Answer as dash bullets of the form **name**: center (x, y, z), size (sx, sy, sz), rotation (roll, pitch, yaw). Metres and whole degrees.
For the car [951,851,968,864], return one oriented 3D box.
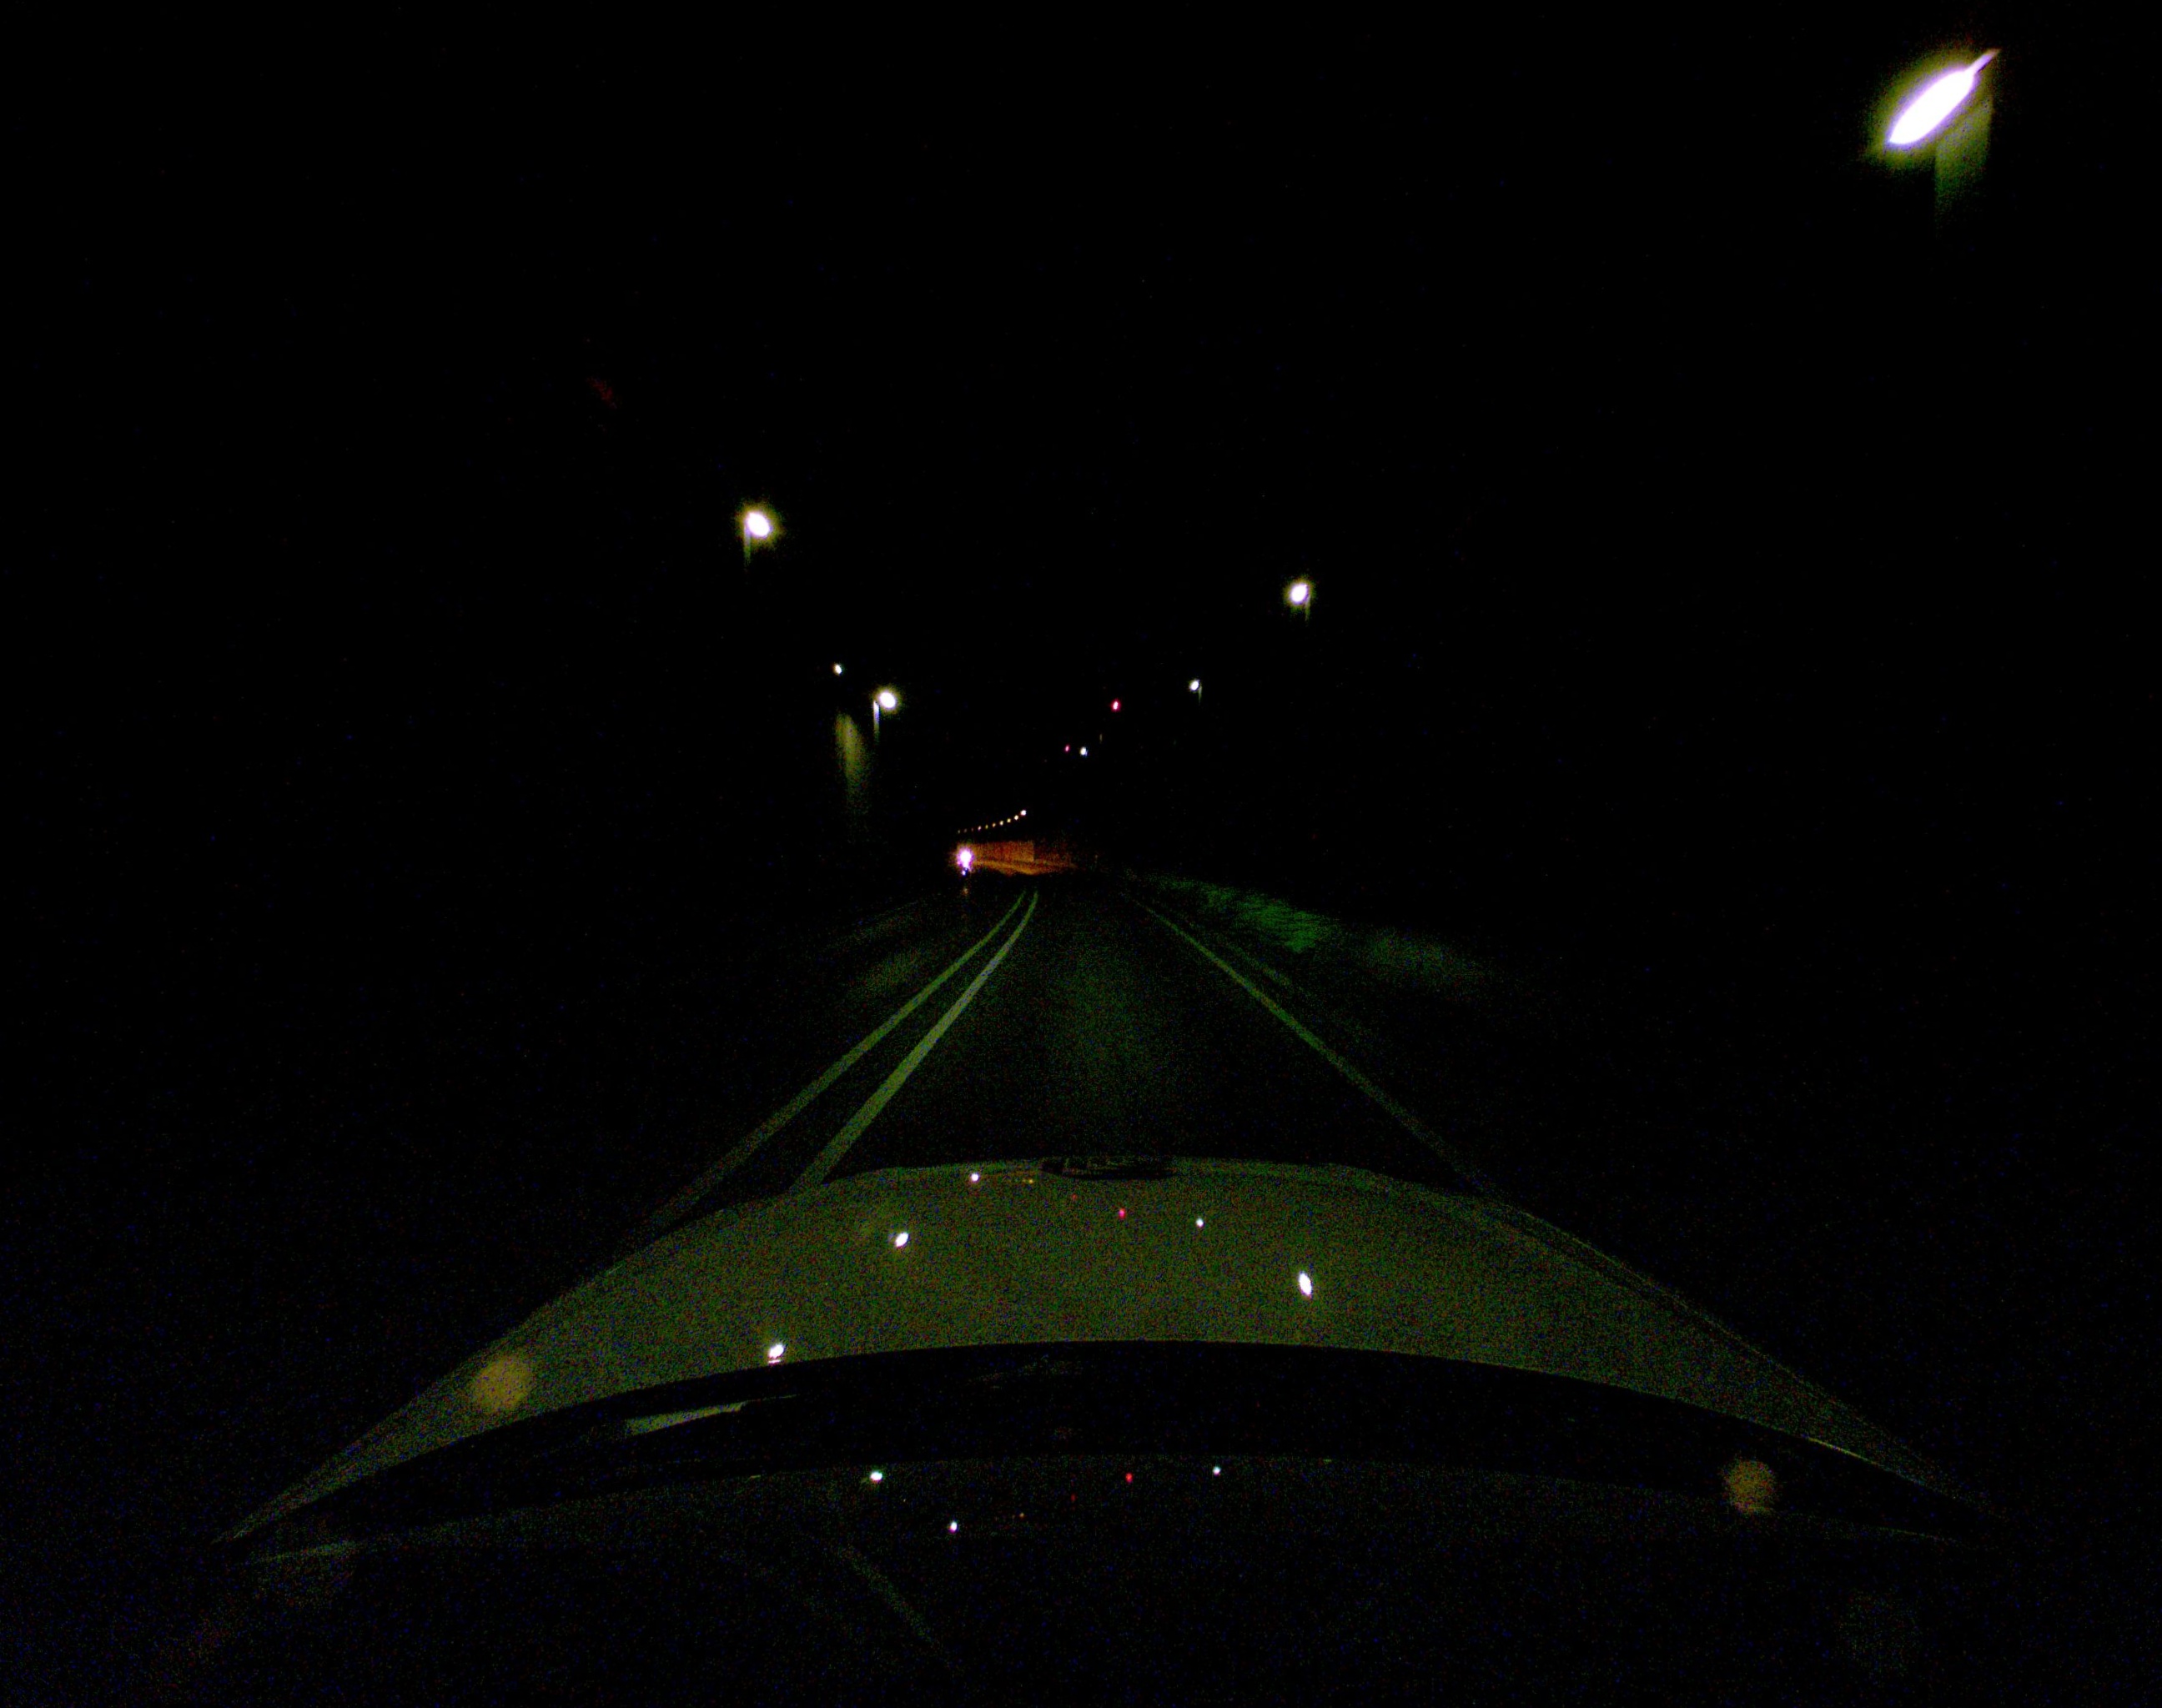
- **car**: center (-17.524, 0.522, 117.092), size (1.995, 1.740, 3.983), rotation (5, -1, -13)
